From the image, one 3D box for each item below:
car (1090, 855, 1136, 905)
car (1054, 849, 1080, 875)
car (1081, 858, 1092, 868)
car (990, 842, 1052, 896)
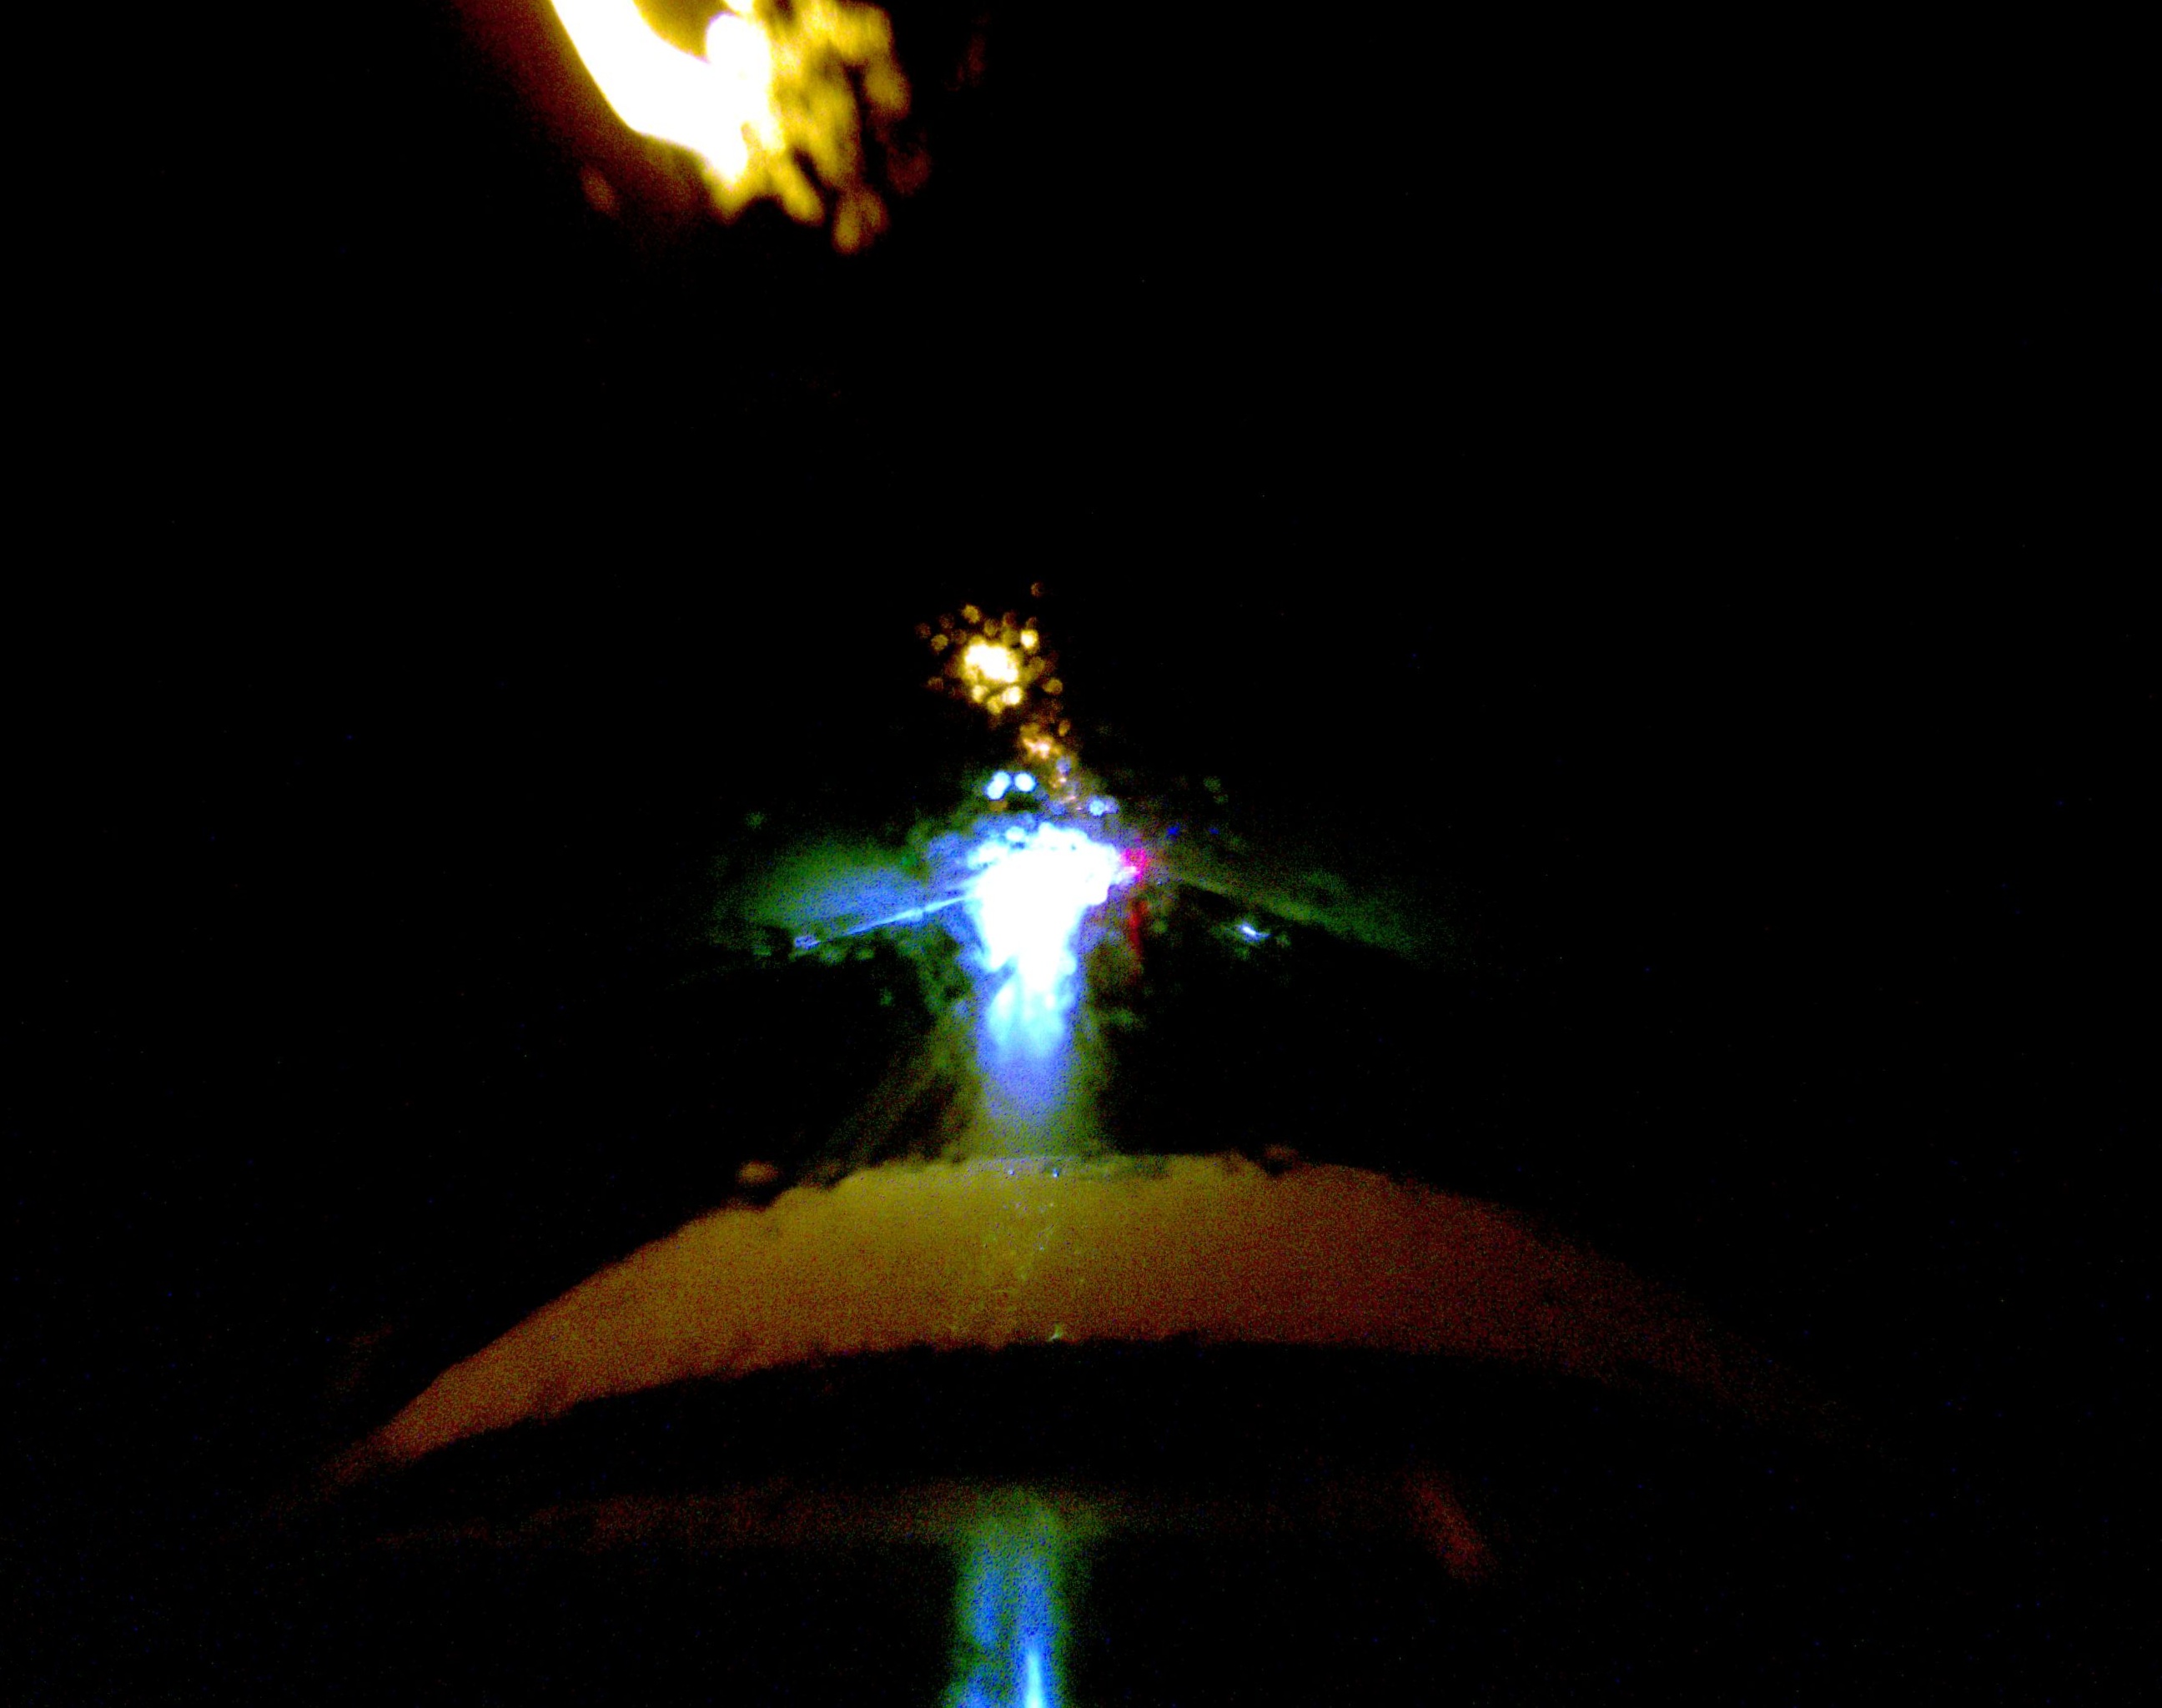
[{"bbox_3d":[1.265,0.940,32.005,1.629,1.758,4.148,-2,0,2],"label":"car"},{"bbox_3d":[-1.092,0.614,65.536,1.754,1.899,4.611,-2,0,2],"label":"car"},{"bbox_3d":[0.980,1.508,134.389,1.629,1.535,3.648,-2,0,2],"label":"car"},{"bbox_3d":[-2.250,0.535,31.757,1.834,1.899,4.611,-2,0,2],"label":"car"}]
